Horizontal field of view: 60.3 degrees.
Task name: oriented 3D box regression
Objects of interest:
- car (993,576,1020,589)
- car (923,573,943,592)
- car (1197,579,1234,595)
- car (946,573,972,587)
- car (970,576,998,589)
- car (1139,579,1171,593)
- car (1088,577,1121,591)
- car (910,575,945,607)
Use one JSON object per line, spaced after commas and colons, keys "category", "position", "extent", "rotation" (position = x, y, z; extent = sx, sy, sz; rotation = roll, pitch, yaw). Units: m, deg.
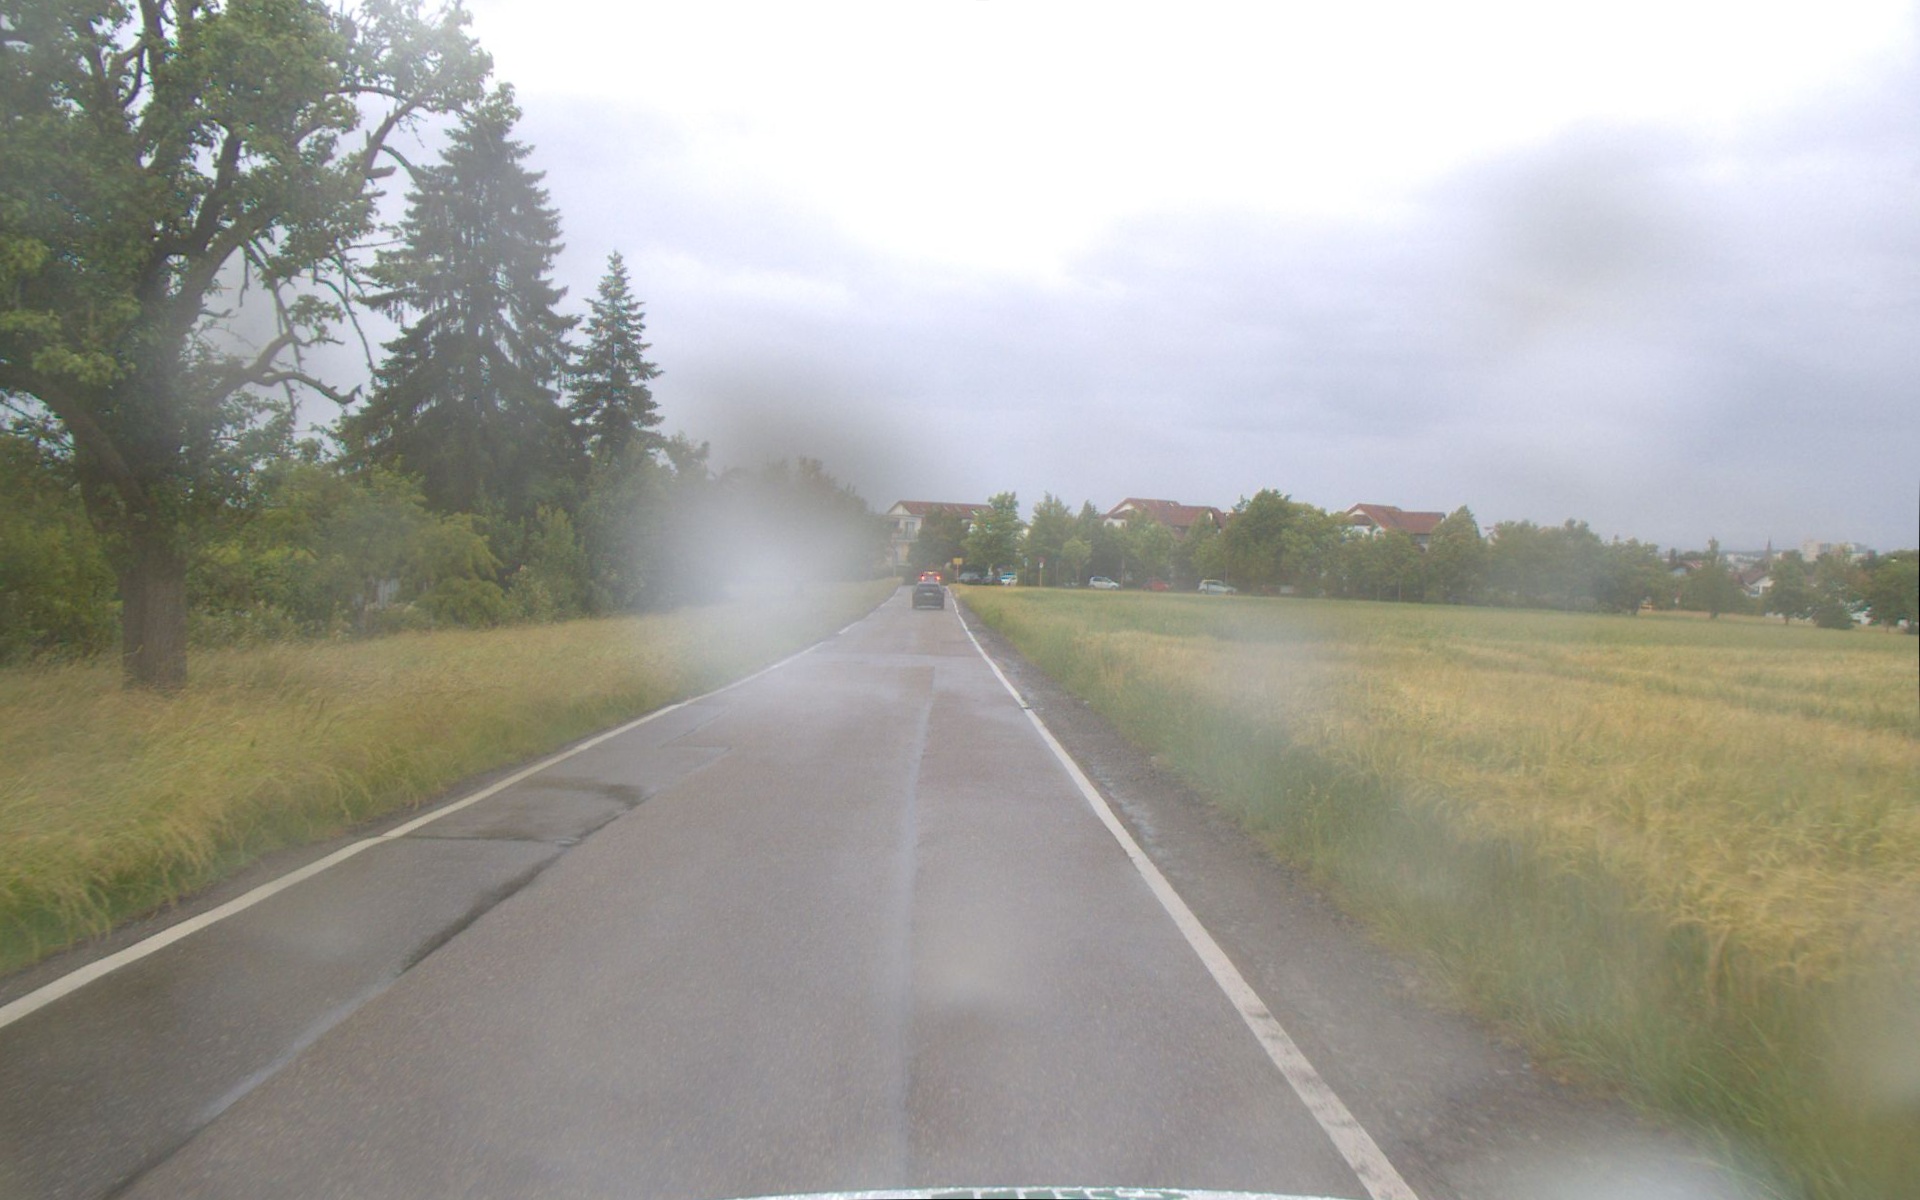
{"category": "car", "position": [6.038, -2.204, 213.665], "extent": [1.632, 1.573, 3.986], "rotation": [1, -1, 34]}
{"category": "car", "position": [-2.498, -1.625, 152.480], "extent": [1.777, 1.622, 4.000], "rotation": [1, -1, 0]}
{"category": "car", "position": [26.742, -1.357, 173.019], "extent": [3.630, 1.591, 1.611], "rotation": [1, -1, 12]}
{"category": "car", "position": [-0.112, -2.410, 203.763], "extent": [1.627, 1.573, 3.998], "rotation": [1, -1, 23]}
{"category": "car", "position": [3.092, -2.243, 209.370], "extent": [1.632, 1.573, 3.986], "rotation": [1, -1, 34]}
{"category": "car", "position": [20.594, -1.460, 174.532], "extent": [3.124, 1.394, 1.573], "rotation": [1, -1, 12]}
{"category": "car", "position": [15.333, -1.719, 175.648], "extent": [3.317, 1.394, 1.549], "rotation": [1, -1, 12]}
{"category": "car", "position": [-1.735, -0.484, 89.306], "extent": [1.777, 1.622, 4.000], "rotation": [1, -1, 0]}
